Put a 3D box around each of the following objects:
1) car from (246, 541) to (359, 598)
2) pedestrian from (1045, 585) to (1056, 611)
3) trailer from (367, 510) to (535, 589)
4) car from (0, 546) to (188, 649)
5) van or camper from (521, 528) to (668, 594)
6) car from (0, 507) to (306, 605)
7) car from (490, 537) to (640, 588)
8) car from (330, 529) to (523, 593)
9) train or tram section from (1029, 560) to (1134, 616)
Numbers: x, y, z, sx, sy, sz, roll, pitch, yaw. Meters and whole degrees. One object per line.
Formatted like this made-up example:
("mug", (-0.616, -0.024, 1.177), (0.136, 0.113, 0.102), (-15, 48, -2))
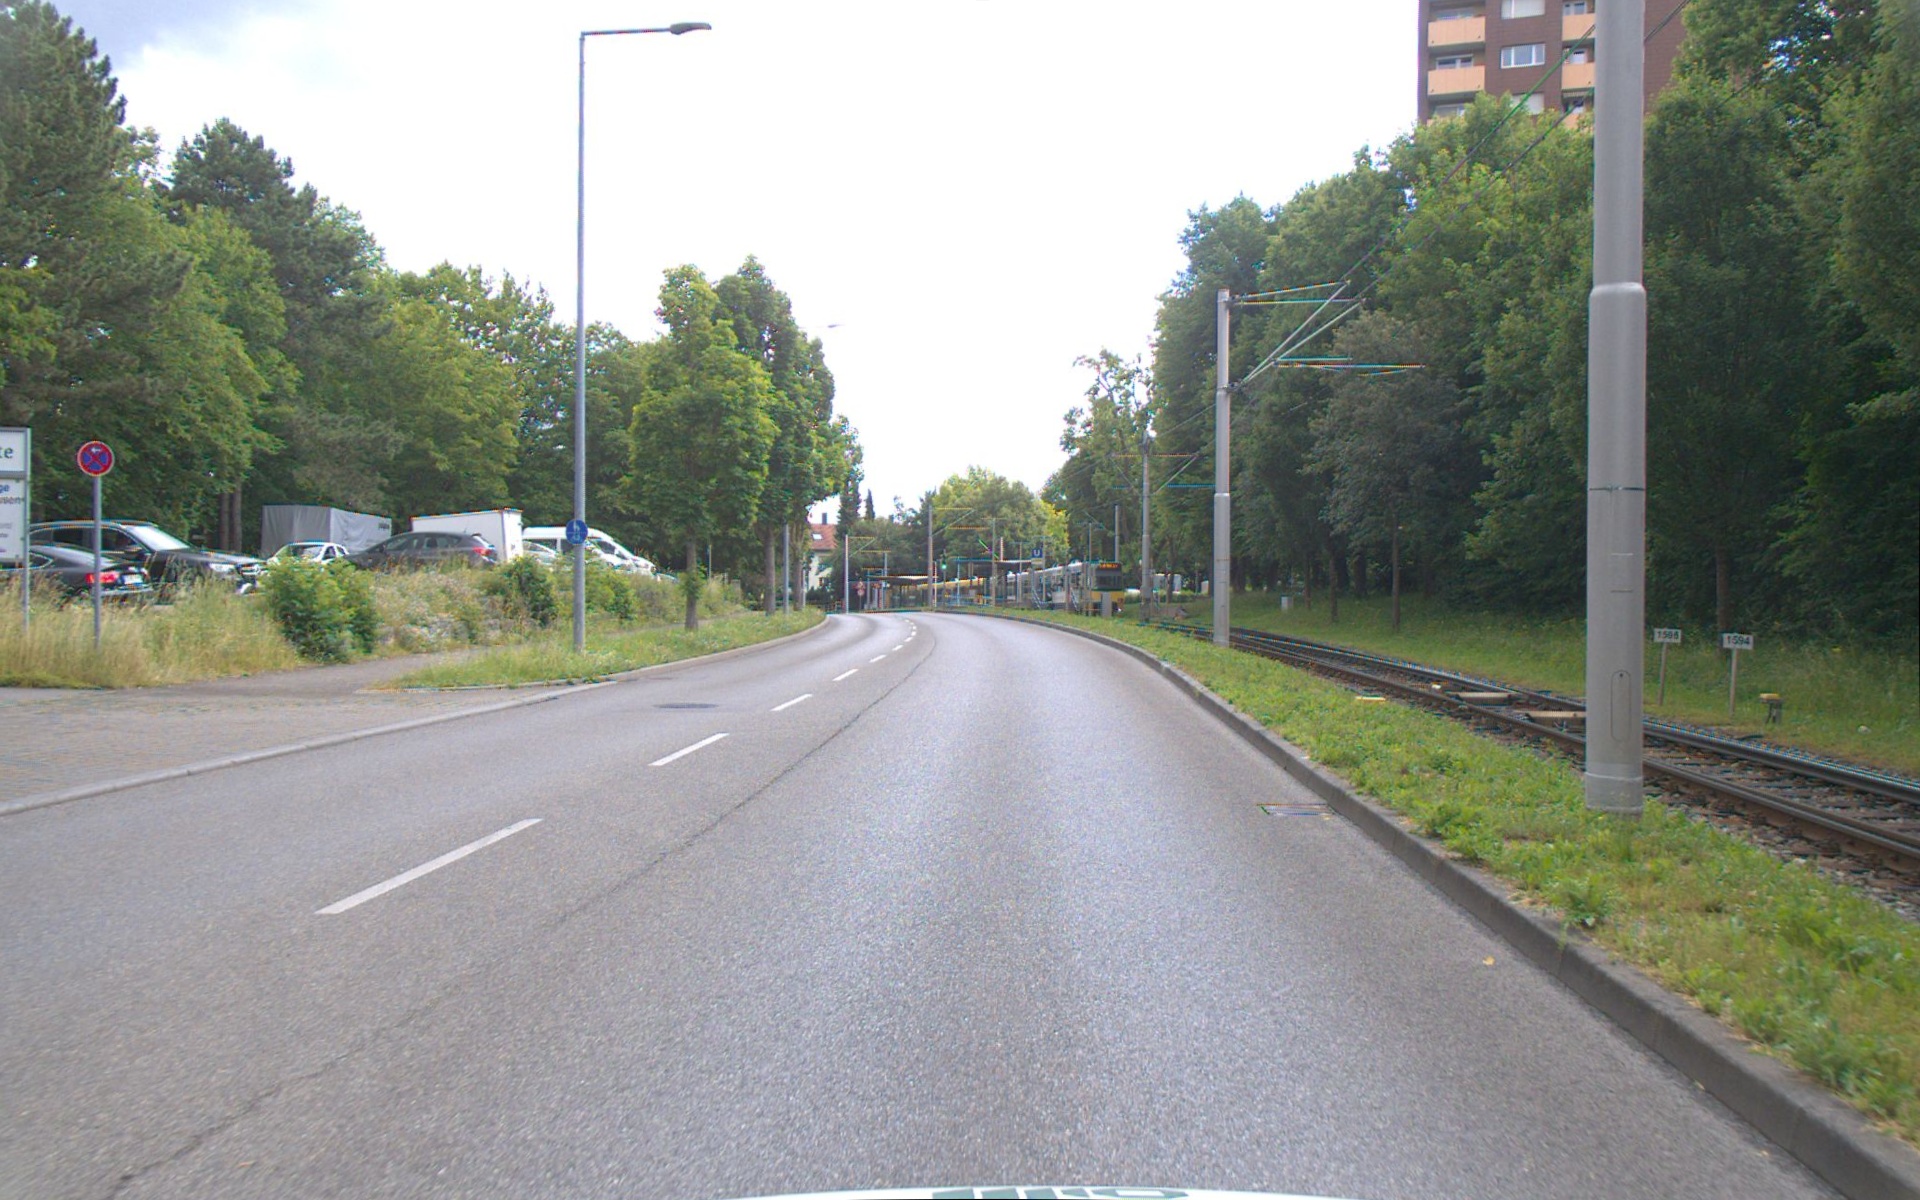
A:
("car", (-19.666, -0.913, 49.638), (1.847, 1.612, 3.665), (1, 1, 1))
("pedestrian", (5.190, -0.139, 94.894), (0.556, 1.490, 0.595), (0, 0, -5))
("trailer", (-13.645, -1.350, 44.501), (3.904, 2.049, 1.909), (0, 1, 2))
("car", (-13.544, -0.054, 23.857), (3.875, 1.421, 1.999), (0, 1, -3))
("van or camper", (-12.987, -1.373, 58.935), (4.792, 2.241, 2.000), (1, 1, -1))
("car", (-14.277, -0.755, 28.884), (4.826, 1.612, 2.206), (0, 0, -2))
("car", (-13.440, -1.263, 56.398), (4.544, 1.685, 2.002), (0, 0, 7))
("car", (-13.307, -0.969, 41.461), (4.227, 1.474, 1.834), (-2, 1, -4))
("train or tram section", (8.179, -0.972, 118.764), (2.948, 3.368, 34.688), (1, 1, -3))
